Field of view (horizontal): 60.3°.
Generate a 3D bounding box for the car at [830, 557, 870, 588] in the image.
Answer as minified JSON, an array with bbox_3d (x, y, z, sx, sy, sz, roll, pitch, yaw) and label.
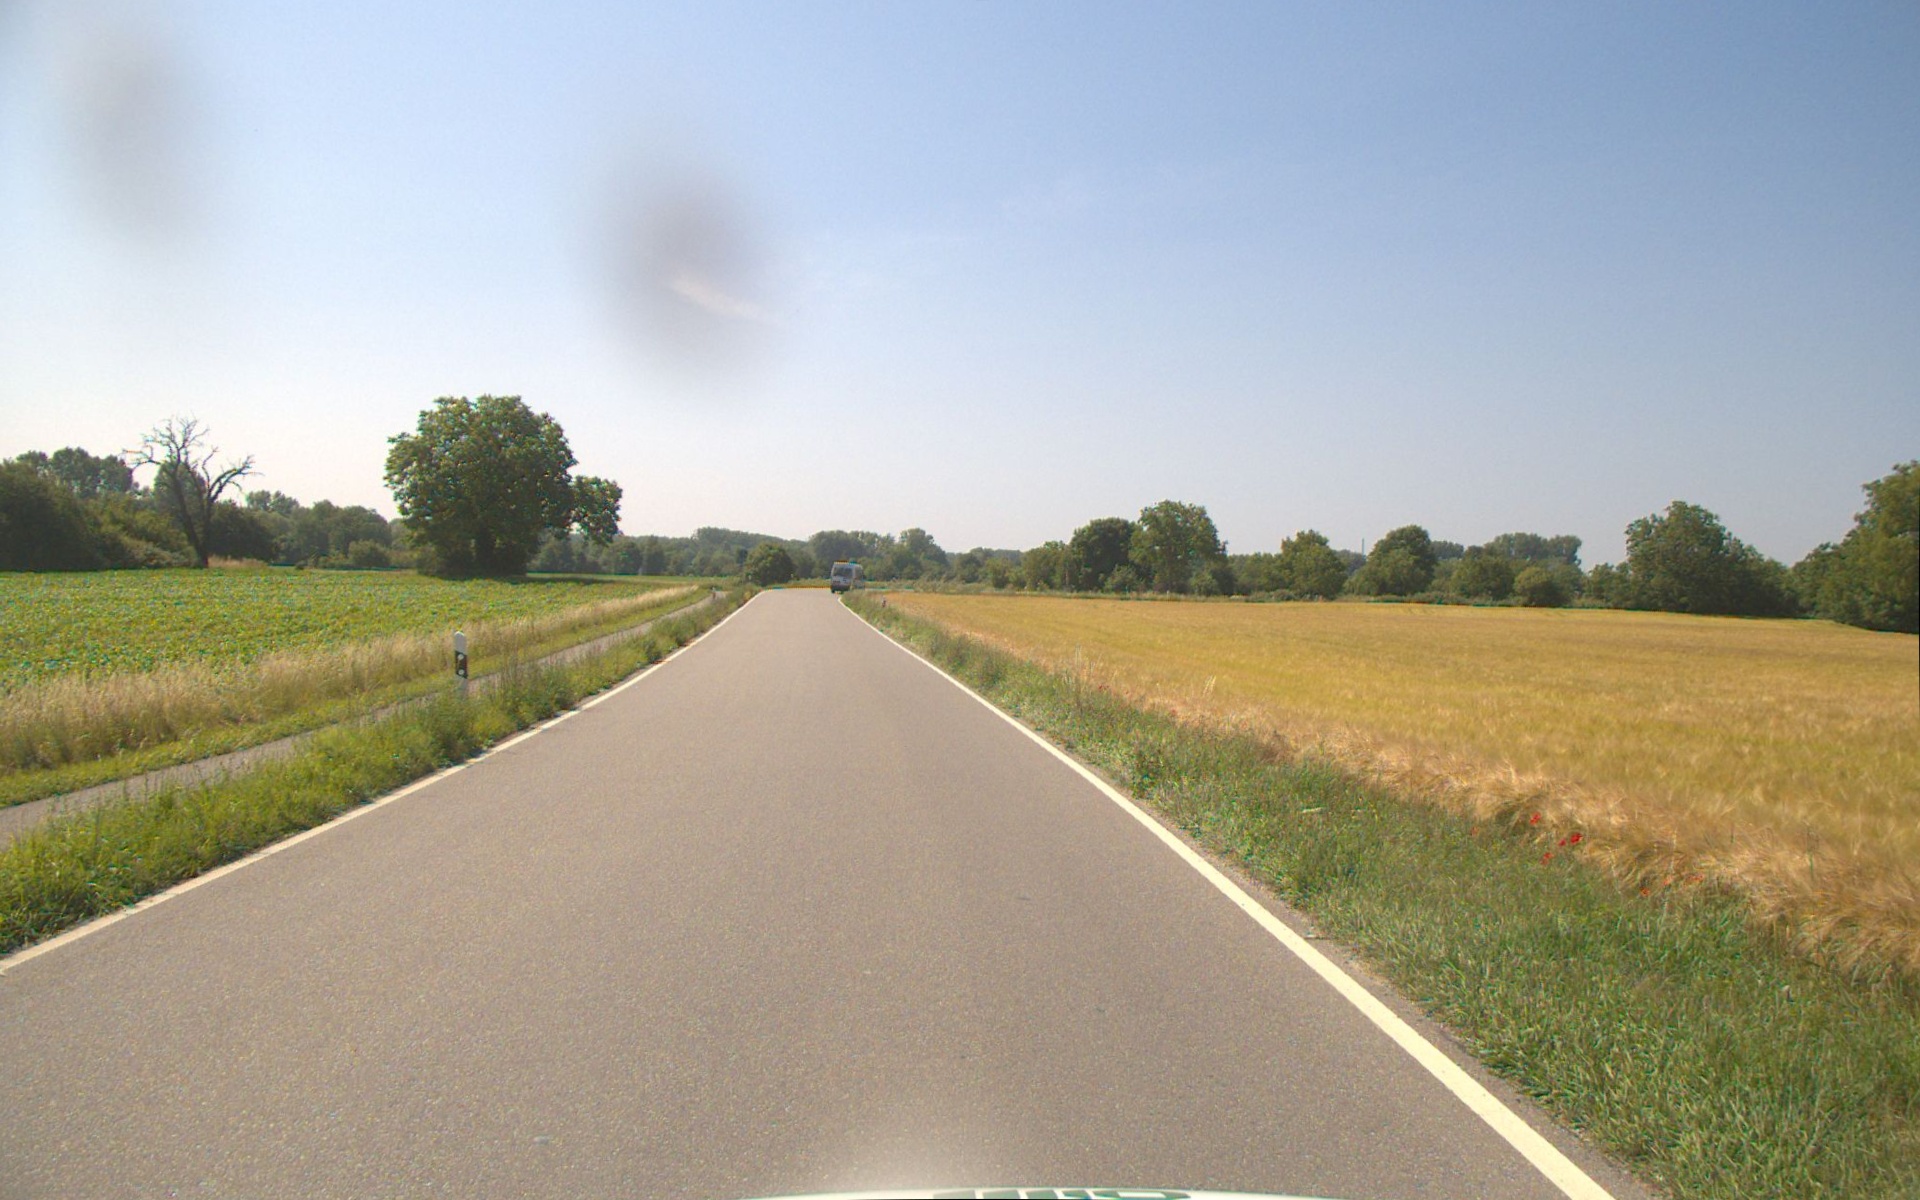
[{"bbox_3d":[-8.940,-2.219,135.098,2.059,2.408,5.692,1,1,9],"label":"car"}]
